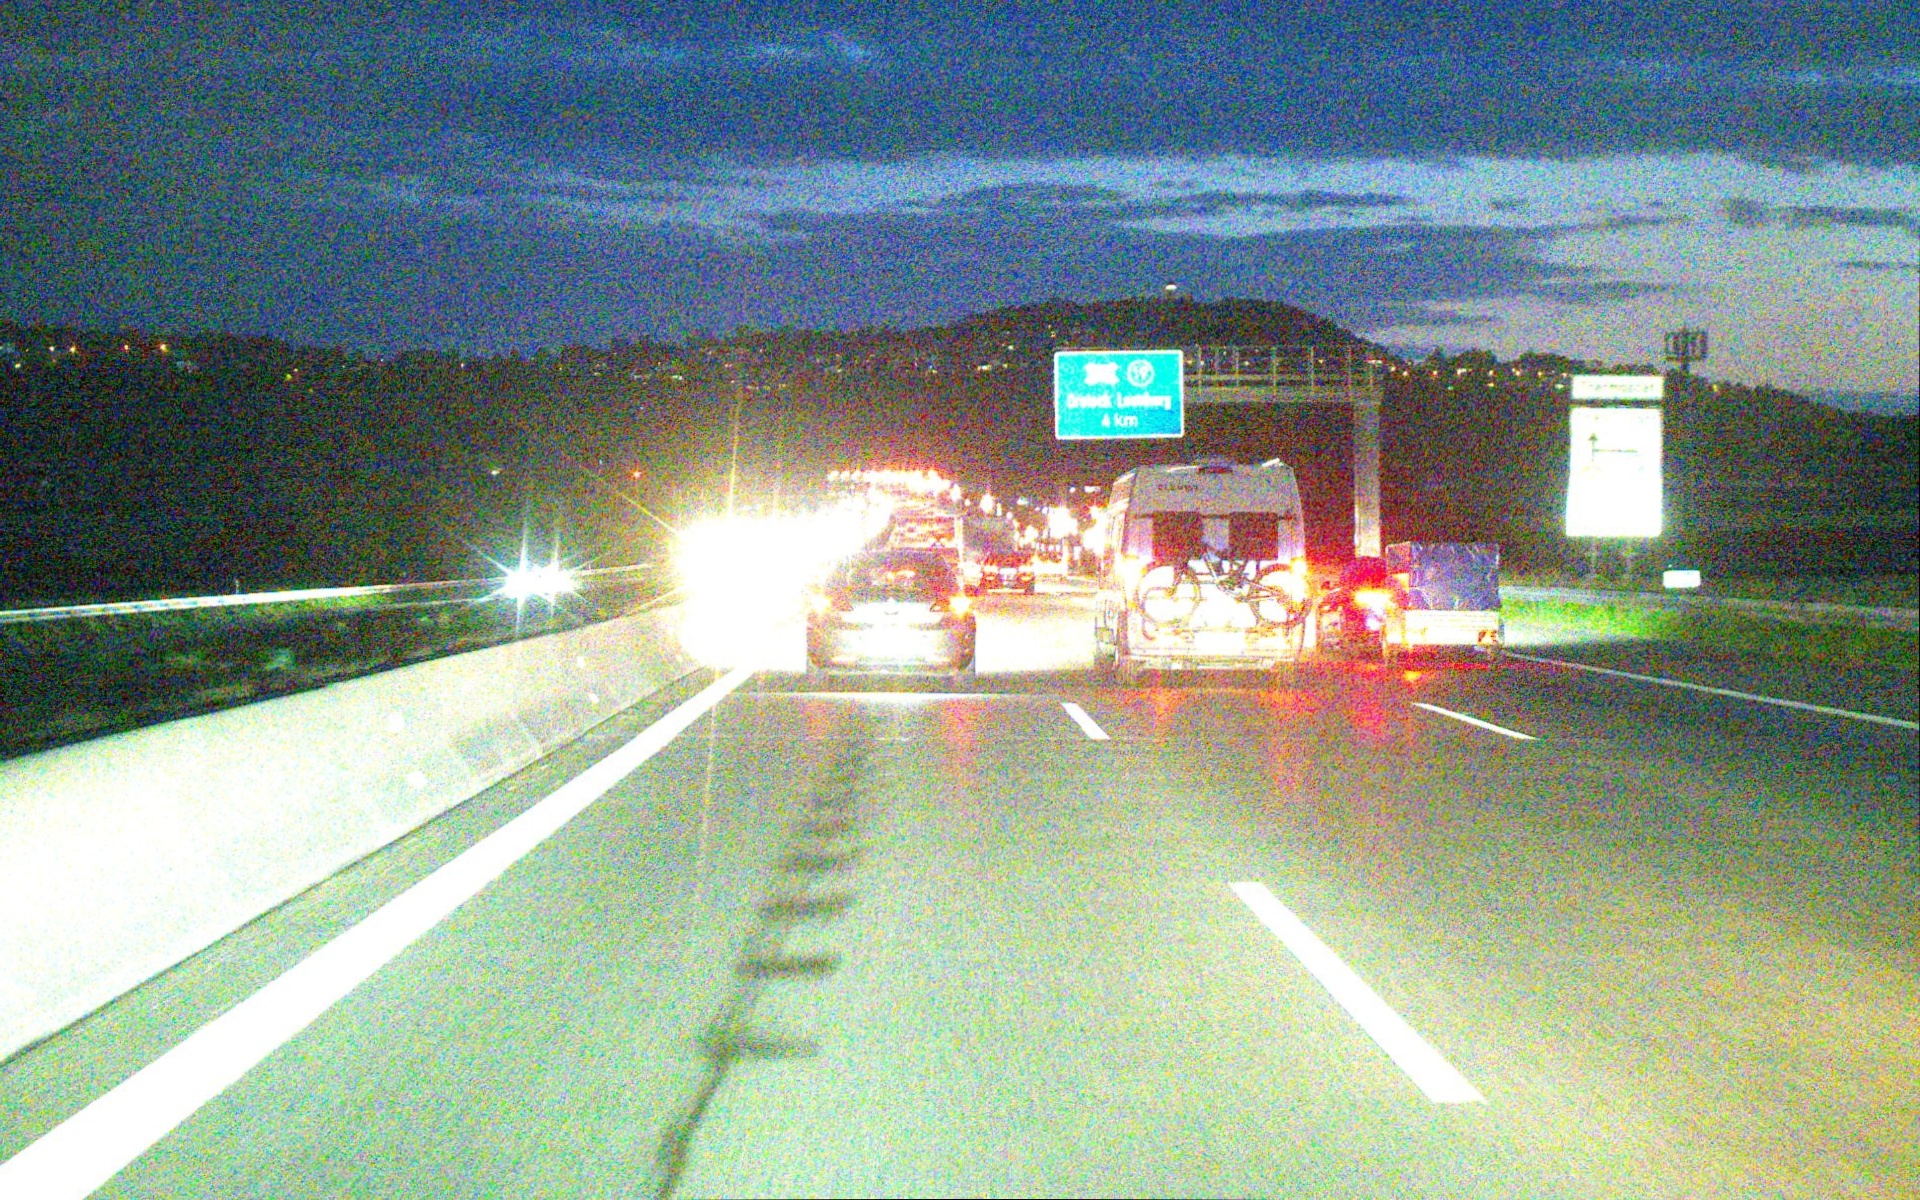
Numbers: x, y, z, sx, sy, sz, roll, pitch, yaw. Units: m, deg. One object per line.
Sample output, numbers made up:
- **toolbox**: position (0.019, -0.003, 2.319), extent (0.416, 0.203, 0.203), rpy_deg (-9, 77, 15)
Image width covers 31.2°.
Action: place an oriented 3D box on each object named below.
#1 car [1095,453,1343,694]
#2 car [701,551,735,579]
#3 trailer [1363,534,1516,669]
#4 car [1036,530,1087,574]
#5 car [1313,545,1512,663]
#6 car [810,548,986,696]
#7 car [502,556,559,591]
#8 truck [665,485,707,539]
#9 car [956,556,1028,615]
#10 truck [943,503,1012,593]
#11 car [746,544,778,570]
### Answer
- **car**: position (2.871, -0.349, 39.464), extent (2.351, 2.526, 5.701), rpy_deg (-1, 1, 0)
- **car**: position (-14.774, -2.143, 210.248), extent (1.812, 1.637, 4.158), rpy_deg (-1, 1, 0)
- **trailer**: position (6.202, -0.008, 44.717), extent (1.566, 1.687, 2.821), rpy_deg (0, 1, -1)
- **car**: position (5.060, -2.405, 171.227), extent (2.351, 2.068, 4.723), rpy_deg (-1, 1, 0)
- **car**: position (6.294, 0.018, 48.340), extent (2.163, 1.558, 4.723), rpy_deg (0, 1, 0)
- **car**: position (-0.647, 0.193, 37.056), extent (1.793, 1.464, 3.773), rpy_deg (0, 1, 0)
- **car**: position (-19.220, -1.196, 154.087), extent (1.993, 1.473, 5.045), rpy_deg (-3, 1, -1)
- **truck**: position (-20.449, -6.540, 256.829), extent (2.781, 3.942, 7.994), rpy_deg (-1, 1, -2)
- **car**: position (1.060, -0.524, 117.039), extent (2.351, 1.907, 4.723), rpy_deg (-1, 1, 0)
- **truck**: position (0.770, -2.355, 156.539), extent (2.781, 3.942, 7.994), rpy_deg (-1, 1, -2)
- **car**: position (-12.723, -2.757, 220.928), extent (1.812, 1.637, 4.158), rpy_deg (-1, 1, 0)
